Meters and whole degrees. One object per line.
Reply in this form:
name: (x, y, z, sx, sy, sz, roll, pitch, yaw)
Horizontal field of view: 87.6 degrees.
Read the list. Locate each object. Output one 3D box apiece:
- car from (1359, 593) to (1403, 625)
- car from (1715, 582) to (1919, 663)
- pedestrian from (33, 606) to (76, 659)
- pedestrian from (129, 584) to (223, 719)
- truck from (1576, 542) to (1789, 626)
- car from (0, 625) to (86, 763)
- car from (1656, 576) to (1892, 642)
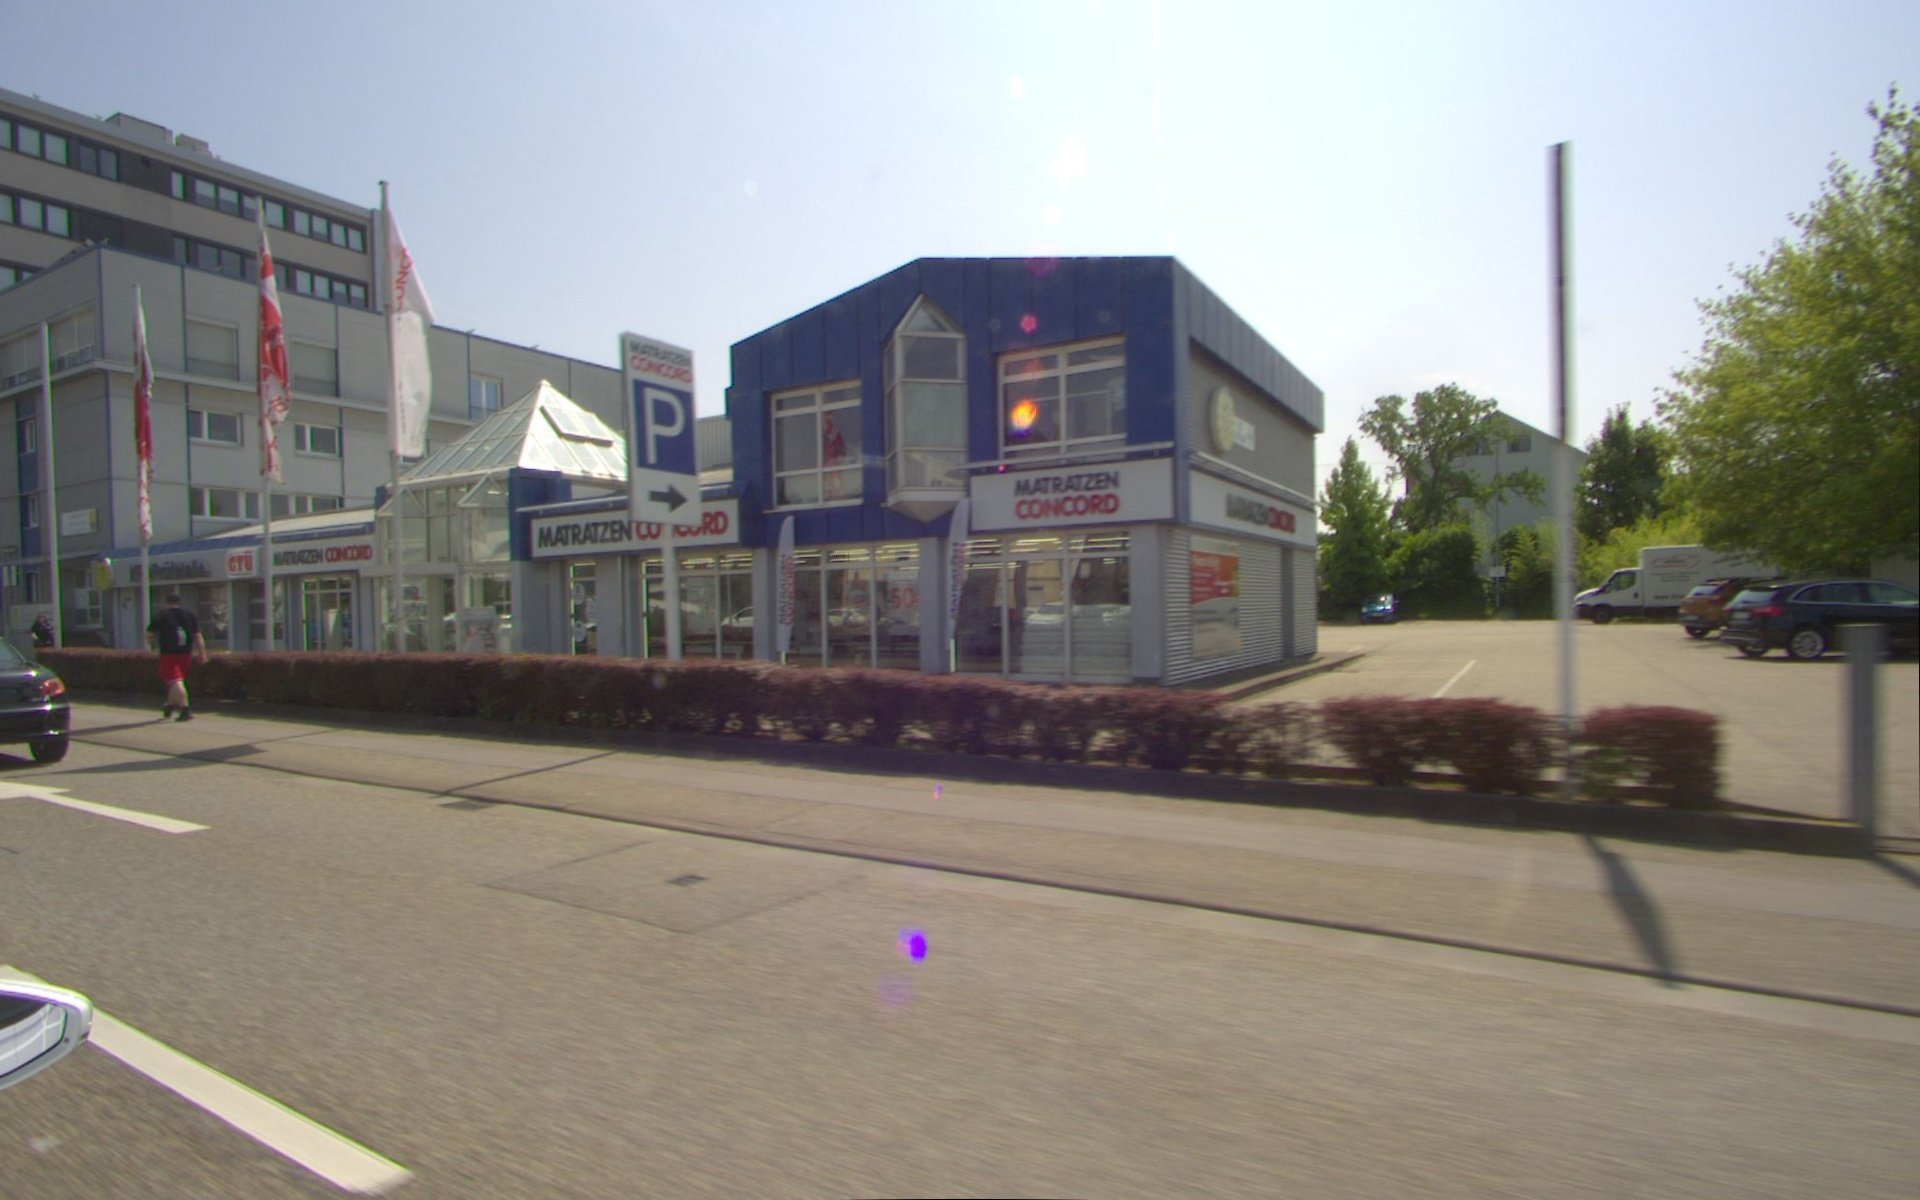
car: (21.678, 0.429, 51.528, 1.592, 1.543, 3.626, -2, -1, 30)
car: (17.132, 0.414, 19.215, 3.925, 1.491, 1.515, -1, 1, 13)
pedestrian: (-28.501, 1.011, 31.514, 0.841, 1.649, 0.808, 0, 1, 34)
pedestrian: (-11.275, 0.717, 14.404, 0.923, 1.871, 0.783, 0, 1, 34)
truck: (27.870, -0.561, 39.013, 6.533, 3.048, 2.202, 0, 1, 31)
car: (-11.261, 0.971, 10.949, 3.553, 1.382, 1.624, -1, -1, 32)
car: (21.460, 0.226, 26.581, 4.453, 1.645, 1.999, -1, 1, 8)
